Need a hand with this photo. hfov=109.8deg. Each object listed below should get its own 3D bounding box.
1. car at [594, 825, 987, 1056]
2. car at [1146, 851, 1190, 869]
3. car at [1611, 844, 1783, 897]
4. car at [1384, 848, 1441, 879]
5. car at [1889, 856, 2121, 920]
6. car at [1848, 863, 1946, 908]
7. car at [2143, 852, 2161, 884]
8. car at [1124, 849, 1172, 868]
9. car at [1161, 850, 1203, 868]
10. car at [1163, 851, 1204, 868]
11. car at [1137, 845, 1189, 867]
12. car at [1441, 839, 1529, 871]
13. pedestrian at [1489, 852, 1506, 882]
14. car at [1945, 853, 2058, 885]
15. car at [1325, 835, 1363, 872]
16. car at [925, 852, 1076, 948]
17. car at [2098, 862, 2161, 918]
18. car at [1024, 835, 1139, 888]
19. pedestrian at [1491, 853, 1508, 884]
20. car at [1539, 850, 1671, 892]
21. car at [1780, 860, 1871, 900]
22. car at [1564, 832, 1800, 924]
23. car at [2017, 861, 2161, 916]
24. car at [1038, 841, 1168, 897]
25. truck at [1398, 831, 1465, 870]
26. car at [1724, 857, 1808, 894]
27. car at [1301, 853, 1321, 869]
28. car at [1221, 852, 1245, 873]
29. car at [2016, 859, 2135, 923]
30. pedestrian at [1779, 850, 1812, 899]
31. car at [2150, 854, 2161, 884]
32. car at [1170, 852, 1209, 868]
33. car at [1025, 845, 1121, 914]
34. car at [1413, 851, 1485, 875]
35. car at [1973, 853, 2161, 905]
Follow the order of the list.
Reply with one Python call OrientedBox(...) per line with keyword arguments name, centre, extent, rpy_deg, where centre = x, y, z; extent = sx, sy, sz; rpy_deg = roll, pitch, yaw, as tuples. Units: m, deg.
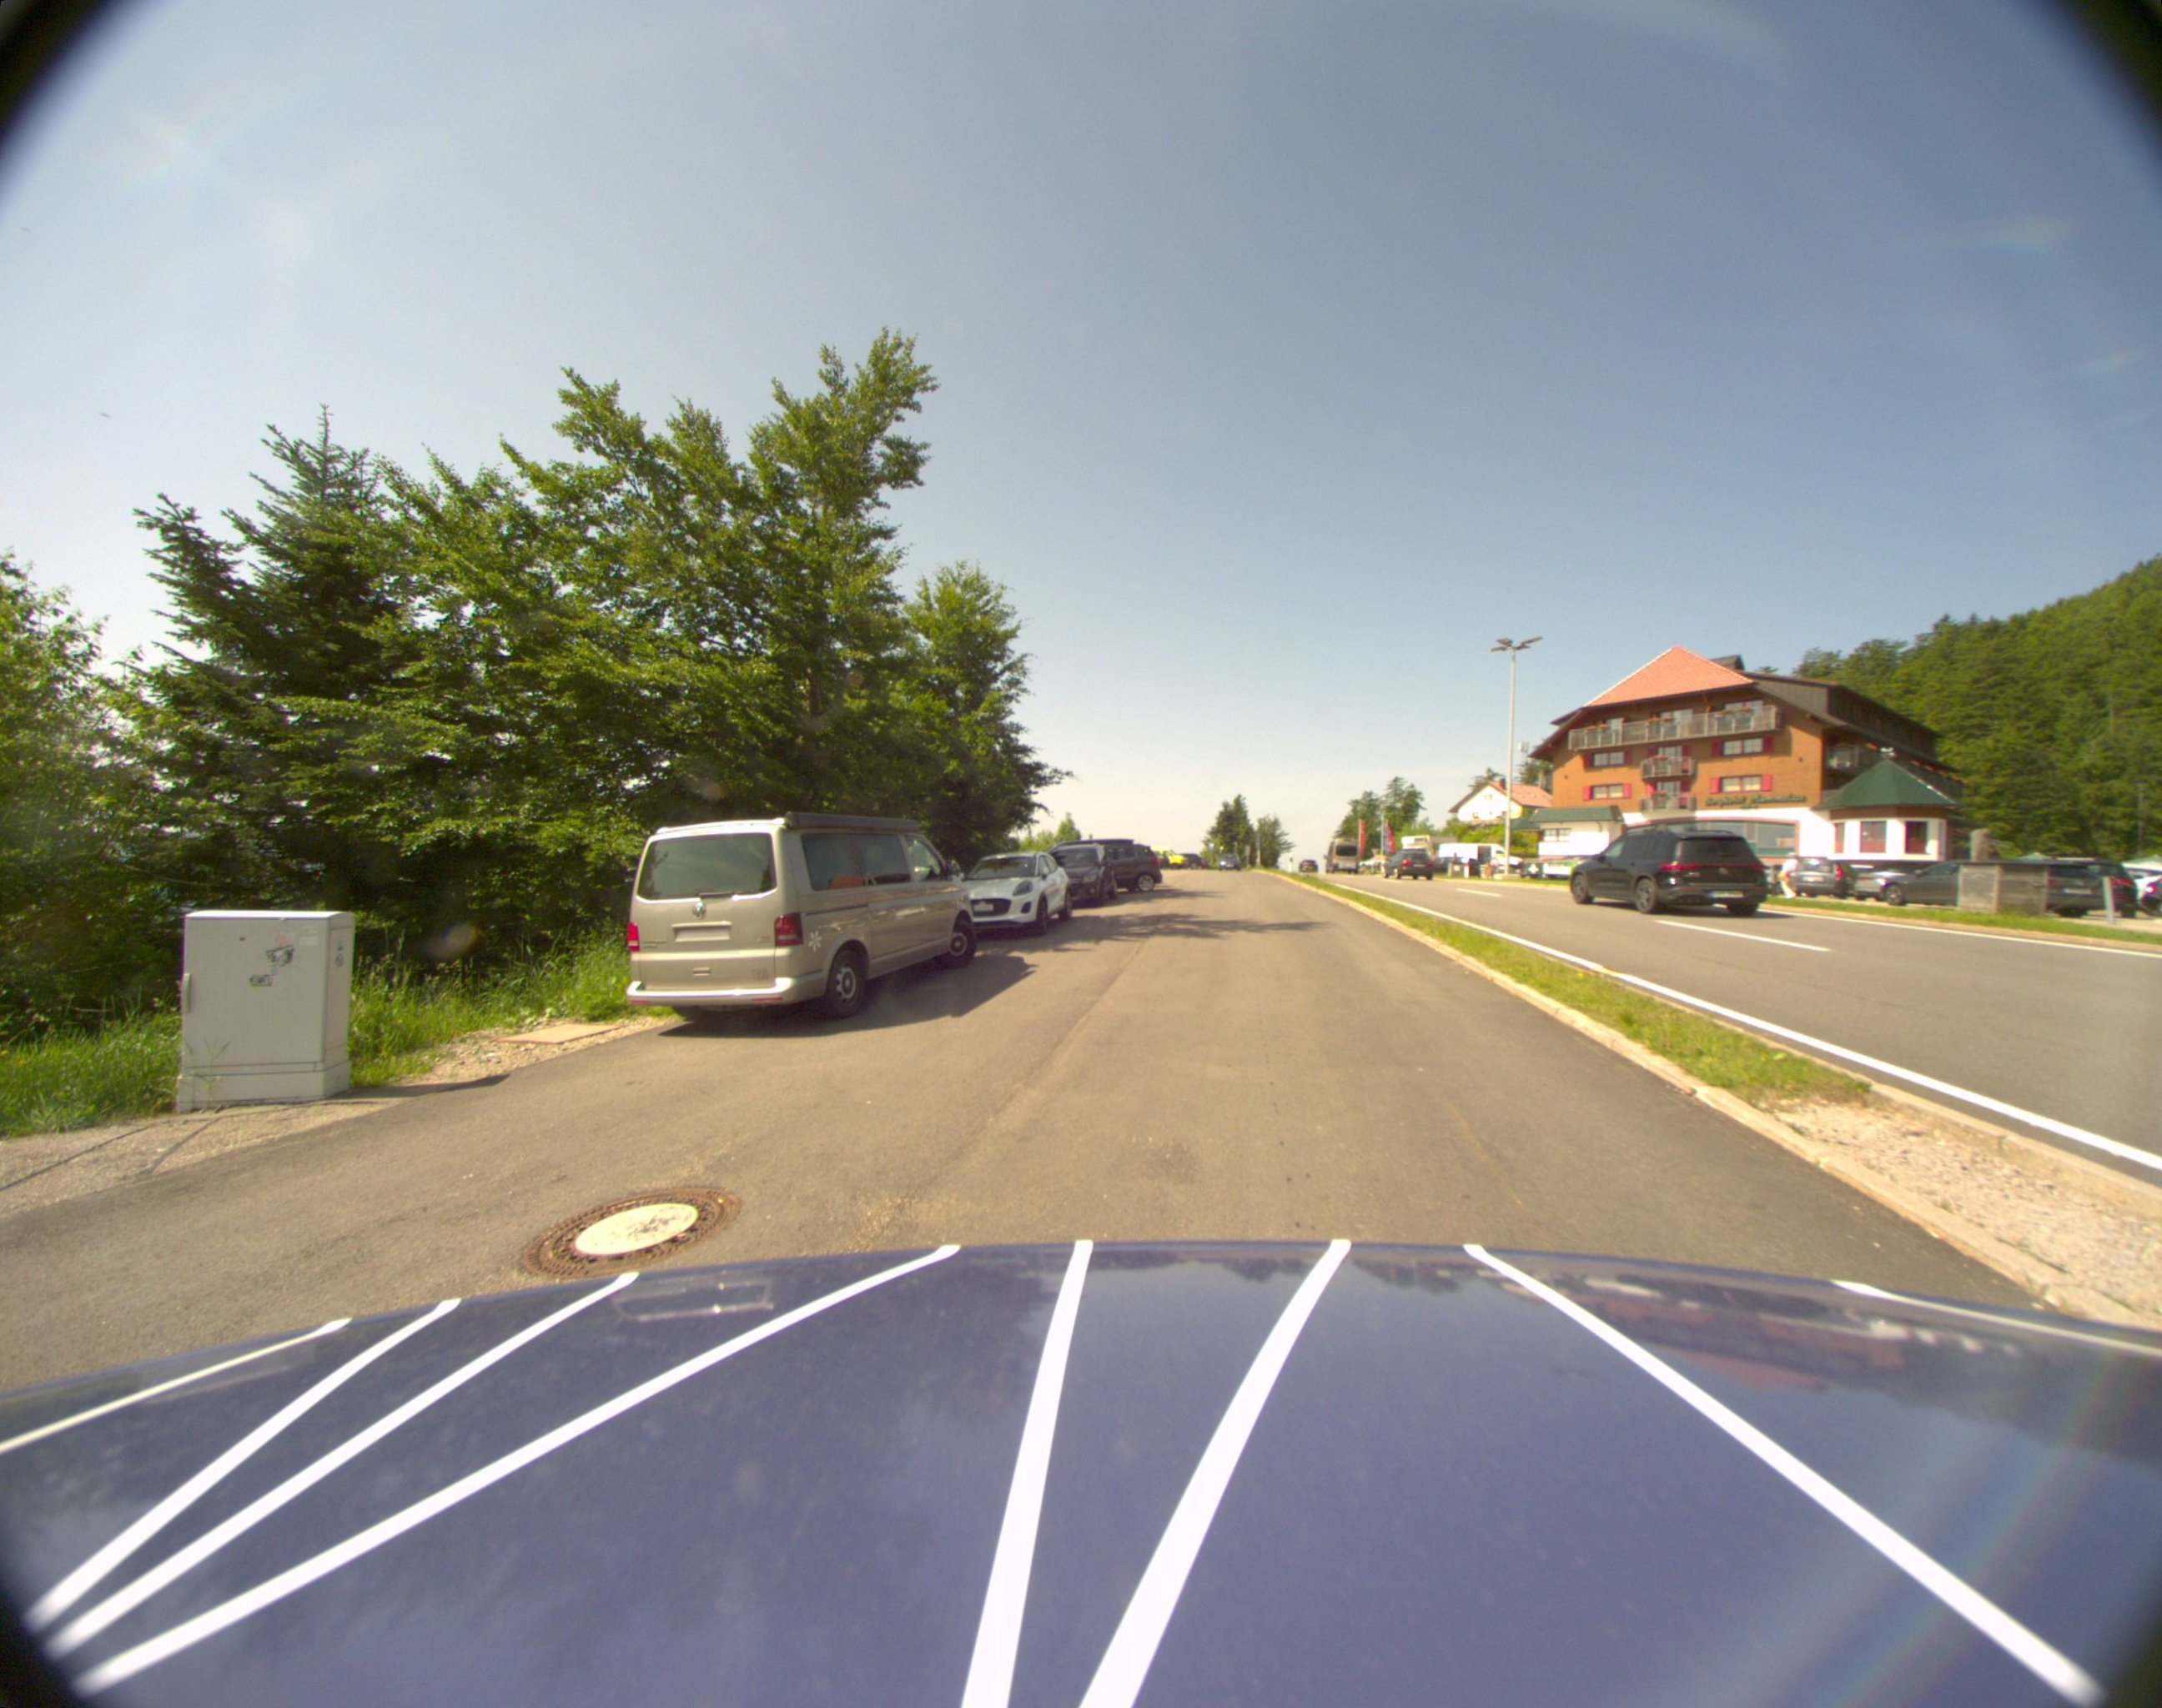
OrientedBox(name="car", centre=(-2.829, 0.739, 8.775), extent=(1.860, 1.924, 4.613), rpy_deg=(-3, 0, 13))
OrientedBox(name="car", centre=(8.250, 0.589, 71.783), extent=(3.906, 1.605, 1.878), rpy_deg=(1, 1, 13))
OrientedBox(name="car", centre=(21.234, 0.516, 26.360), extent=(1.828, 1.619, 4.258), rpy_deg=(0, 1, -37))
OrientedBox(name="car", centre=(17.089, 0.450, 39.411), extent=(1.709, 1.429, 4.453), rpy_deg=(1, 1, 10))
OrientedBox(name="car", centre=(24.096, 0.803, 20.081), extent=(1.719, 1.422, 4.003), rpy_deg=(1, 1, 12))
OrientedBox(name="car", centre=(30.275, 1.110, 28.173), extent=(4.102, 1.504, 1.819), rpy_deg=(0, 1, -34))
OrientedBox(name="car", centre=(58.960, 0.776, 39.624), extent=(1.924, 1.706, 4.083), rpy_deg=(0, 1, -36))
OrientedBox(name="car", centre=(5.881, 0.394, 66.179), extent=(3.906, 1.605, 1.878), rpy_deg=(1, 1, 13))
OrientedBox(name="car", centre=(9.901, 0.486, 74.362), extent=(3.906, 1.605, 1.878), rpy_deg=(1, 1, 13))
OrientedBox(name="car", centre=(10.364, 0.557, 76.935), extent=(3.906, 1.605, 1.878), rpy_deg=(1, 1, 13))
OrientedBox(name="car", centre=(7.425, 0.139, 68.652), extent=(4.452, 1.914, 1.878), rpy_deg=(1, 1, 13))
OrientedBox(name="car", centre=(37.171, 0.050, 70.001), extent=(6.946, 2.775, 2.672), rpy_deg=(1, 1, 29))
OrientedBox(name="pedestrian", centre=(28.023, 0.836, 51.130), extent=(0.716, 2.002, 0.803), rpy_deg=(0, 1, 9))
OrientedBox(name="car", centre=(54.134, 0.836, 44.760), extent=(1.924, 1.706, 4.083), rpy_deg=(0, 1, -36))
OrientedBox(name="car", centre=(20.821, -0.091, 60.395), extent=(2.014, 2.735, 5.921), rpy_deg=(1, 1, 11))
OrientedBox(name="car", centre=(-1.397, 0.795, 14.972), extent=(1.874, 1.538, 4.002), rpy_deg=(-3, 0, 10))
OrientedBox(name="car", centre=(33.010, 1.098, 22.073), extent=(1.828, 1.619, 4.083), rpy_deg=(0, 1, -37))
OrientedBox(name="car", centre=(-0.031, 0.280, 31.553), extent=(4.460, 1.914, 1.875), rpy_deg=(-3, 1, -9))
OrientedBox(name="pedestrian", centre=(27.068, 0.909, 49.111), extent=(0.716, 2.002, 0.803), rpy_deg=(0, 1, 9))
OrientedBox(name="car", centre=(22.424, 0.676, 32.676), extent=(1.828, 1.619, 4.258), rpy_deg=(0, 1, -37))
OrientedBox(name="car", centre=(30.374, 1.014, 30.982), extent=(4.102, 1.504, 1.819), rpy_deg=(0, 1, -34))
OrientedBox(name="car", centre=(12.270, 0.399, 15.986), extent=(1.997, 1.638, 4.571), rpy_deg=(1, 1, 11))
OrientedBox(name="car", centre=(34.130, 1.111, 25.003), extent=(1.828, 1.619, 4.083), rpy_deg=(0, 1, -37))
OrientedBox(name="car", centre=(0.693, 0.465, 25.465), extent=(4.000, 1.609, 1.875), rpy_deg=(-3, 1, -9))
OrientedBox(name="truck", centre=(35.948, -0.342, 77.760), extent=(9.036, 3.798, 2.876), rpy_deg=(0, -1, -42))
OrientedBox(name="car", centre=(30.468, 0.897, 33.774), extent=(4.102, 1.504, 1.819), rpy_deg=(0, 1, -34))
OrientedBox(name="car", centre=(26.216, 0.807, 86.764), extent=(1.719, 1.672, 4.133), rpy_deg=(1, 1, 10))
OrientedBox(name="car", centre=(12.615, 0.655, 63.277), extent=(1.873, 1.605, 3.916), rpy_deg=(1, 1, 10))
OrientedBox(name="car", centre=(28.833, 0.998, 22.006), extent=(4.102, 1.619, 1.819), rpy_deg=(0, 1, -34))
OrientedBox(name="pedestrian", centre=(24.469, 0.684, 26.020), extent=(0.744, 1.615, 0.685), rpy_deg=(2, 2, 40))
OrientedBox(name="car", centre=(62.624, 0.903, 41.523), extent=(1.924, 1.706, 4.832), rpy_deg=(0, 1, -36))
OrientedBox(name="car", centre=(11.532, 0.630, 80.843), extent=(3.906, 1.605, 1.878), rpy_deg=(1, 1, 13))
OrientedBox(name="car", centre=(-0.104, 0.617, 20.830), extent=(1.874, 1.609, 4.002), rpy_deg=(-3, 0, 10))
OrientedBox(name="car", centre=(25.547, 0.607, 52.879), extent=(1.828, 1.518, 4.082), rpy_deg=(0, 2, -41))
OrientedBox(name="car", centre=(35.695, 0.839, 27.625), extent=(1.828, 1.619, 4.083), rpy_deg=(0, 1, -37))
